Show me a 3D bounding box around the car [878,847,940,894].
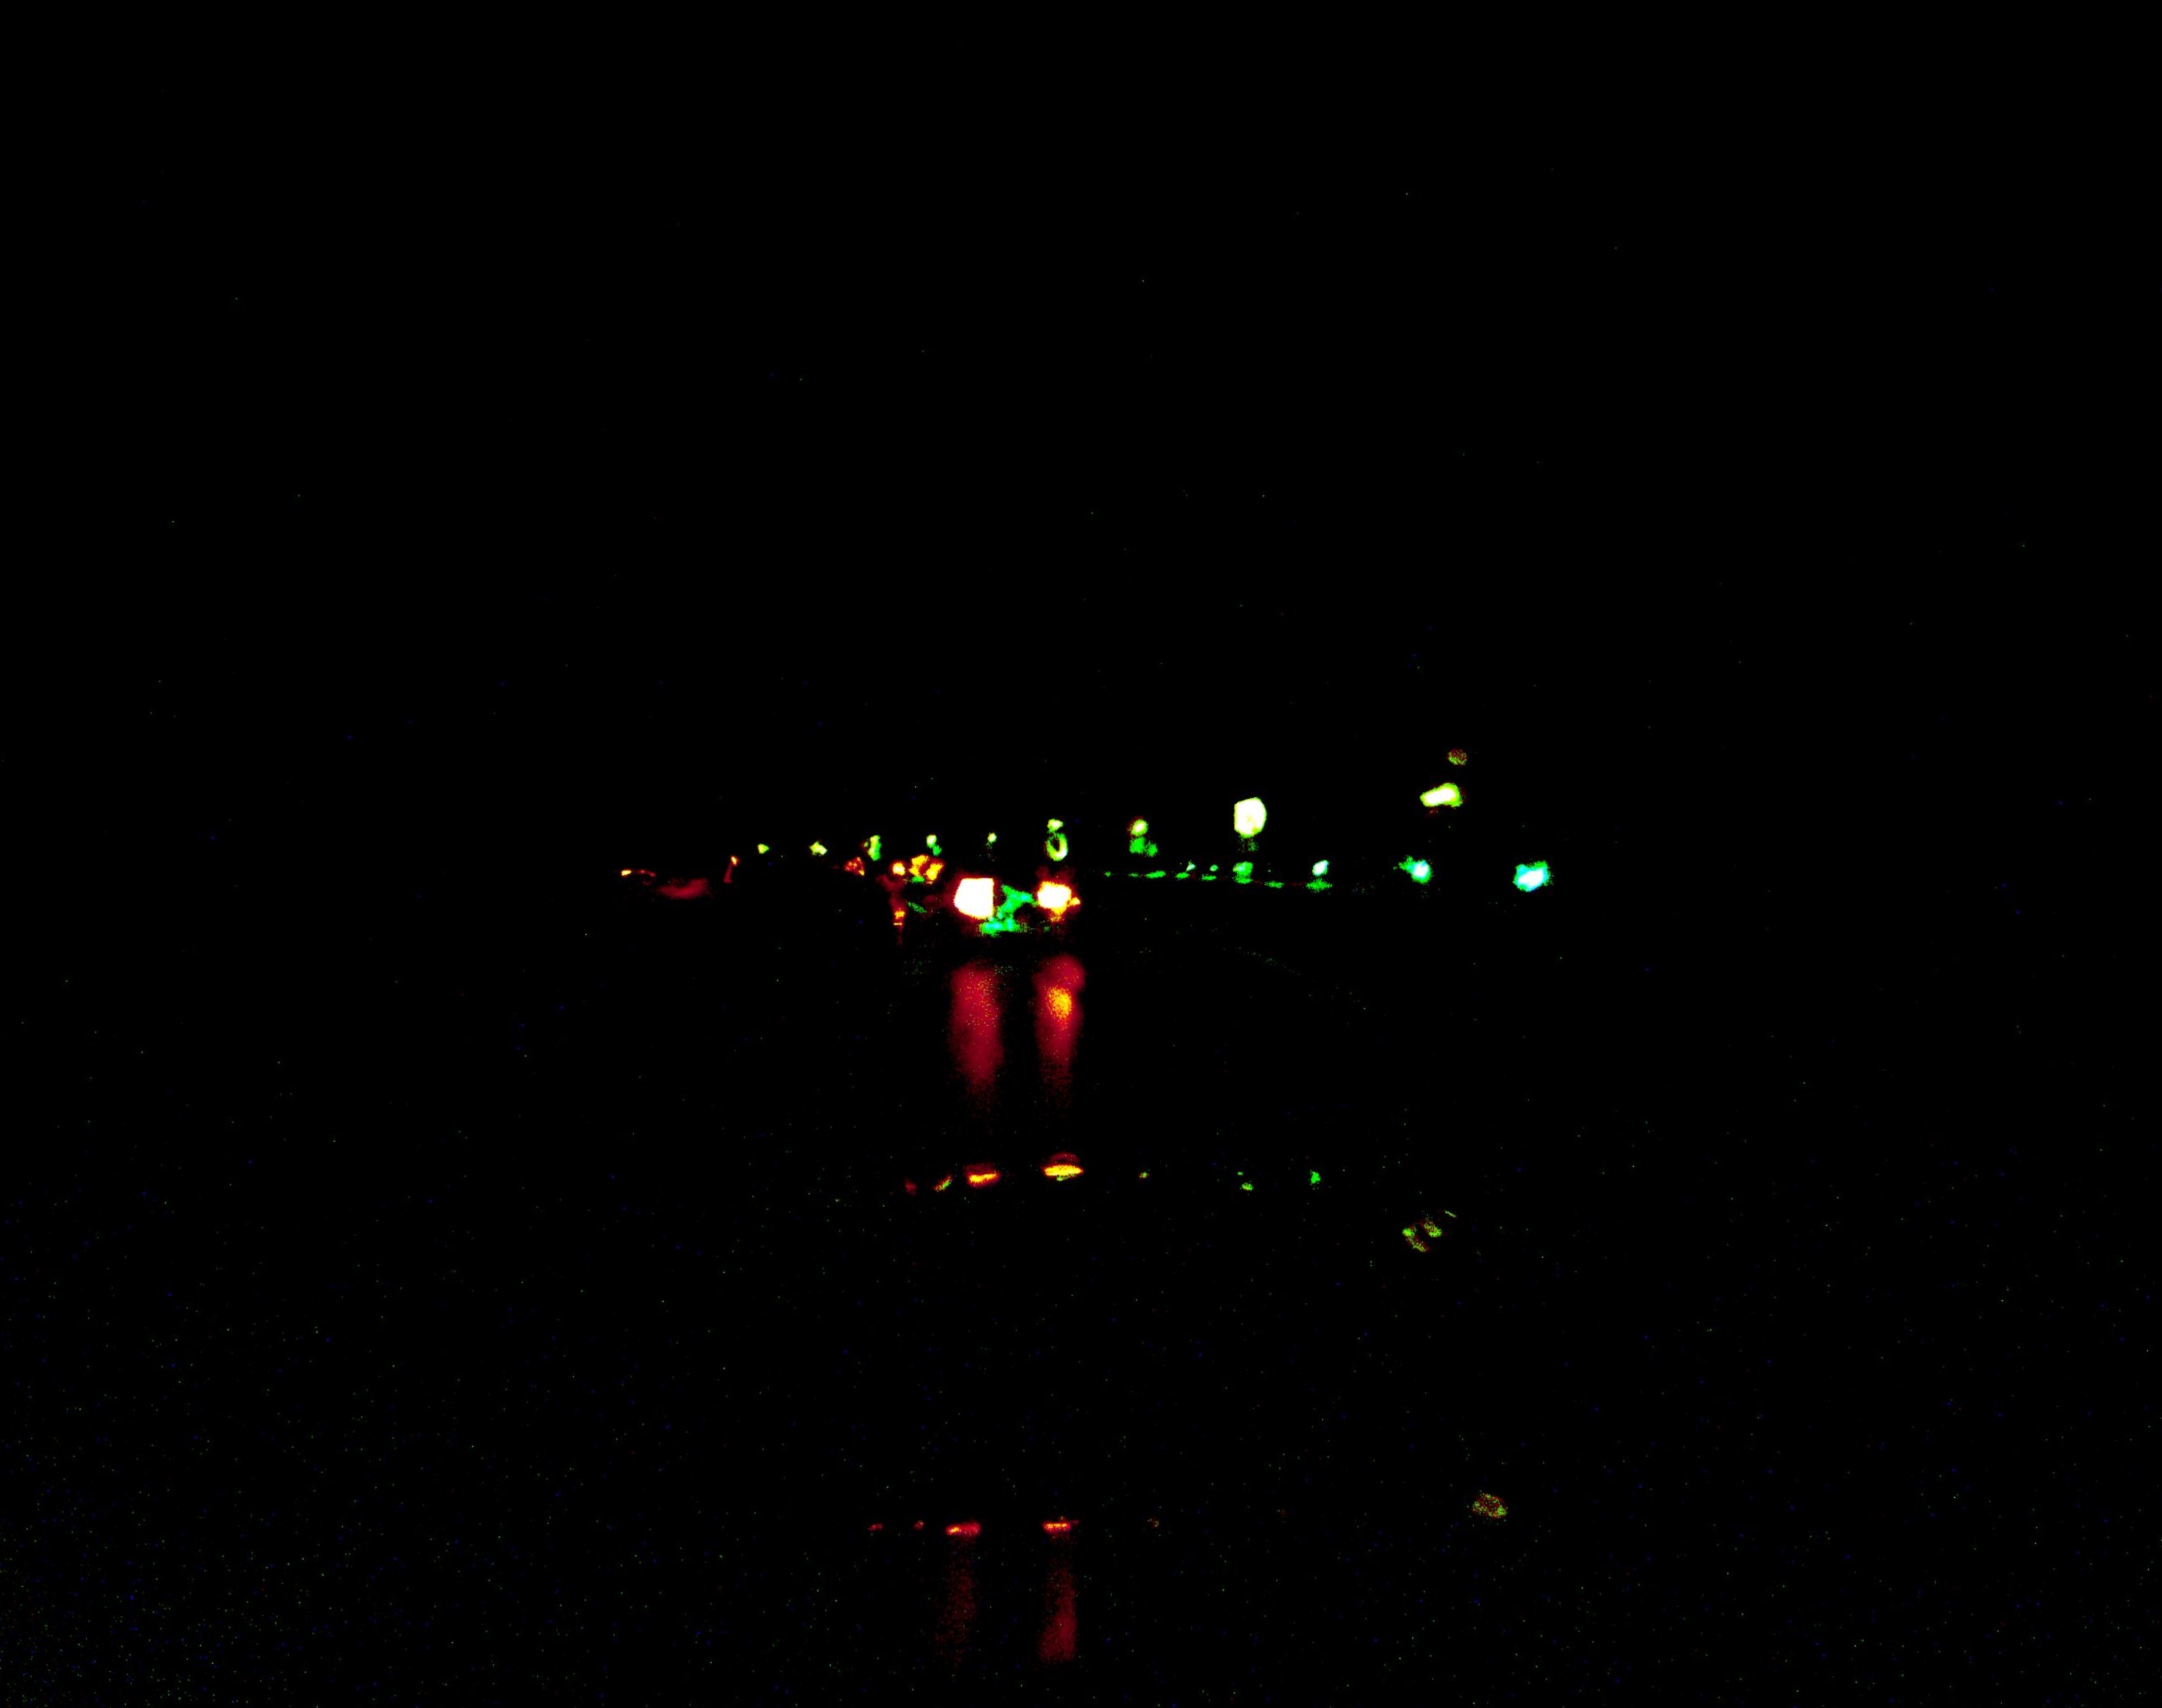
[{"bbox_3d":[-6.827,0.607,32.045,1.901,1.720,4.020,-1,0,-19],"label":"car"}]

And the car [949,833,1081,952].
[{"bbox_3d":[-1.211,0.533,13.838,1.859,1.647,4.058,-2,1,-8],"label":"car"}]

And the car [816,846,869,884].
[{"bbox_3d":[-13.400,0.606,45.692,1.907,2.040,4.006,-1,0,-31],"label":"car"}]

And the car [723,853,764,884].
[{"bbox_3d":[-23.434,0.953,56.508,1.909,1.998,4.004,-2,1,-33],"label":"car"}]
